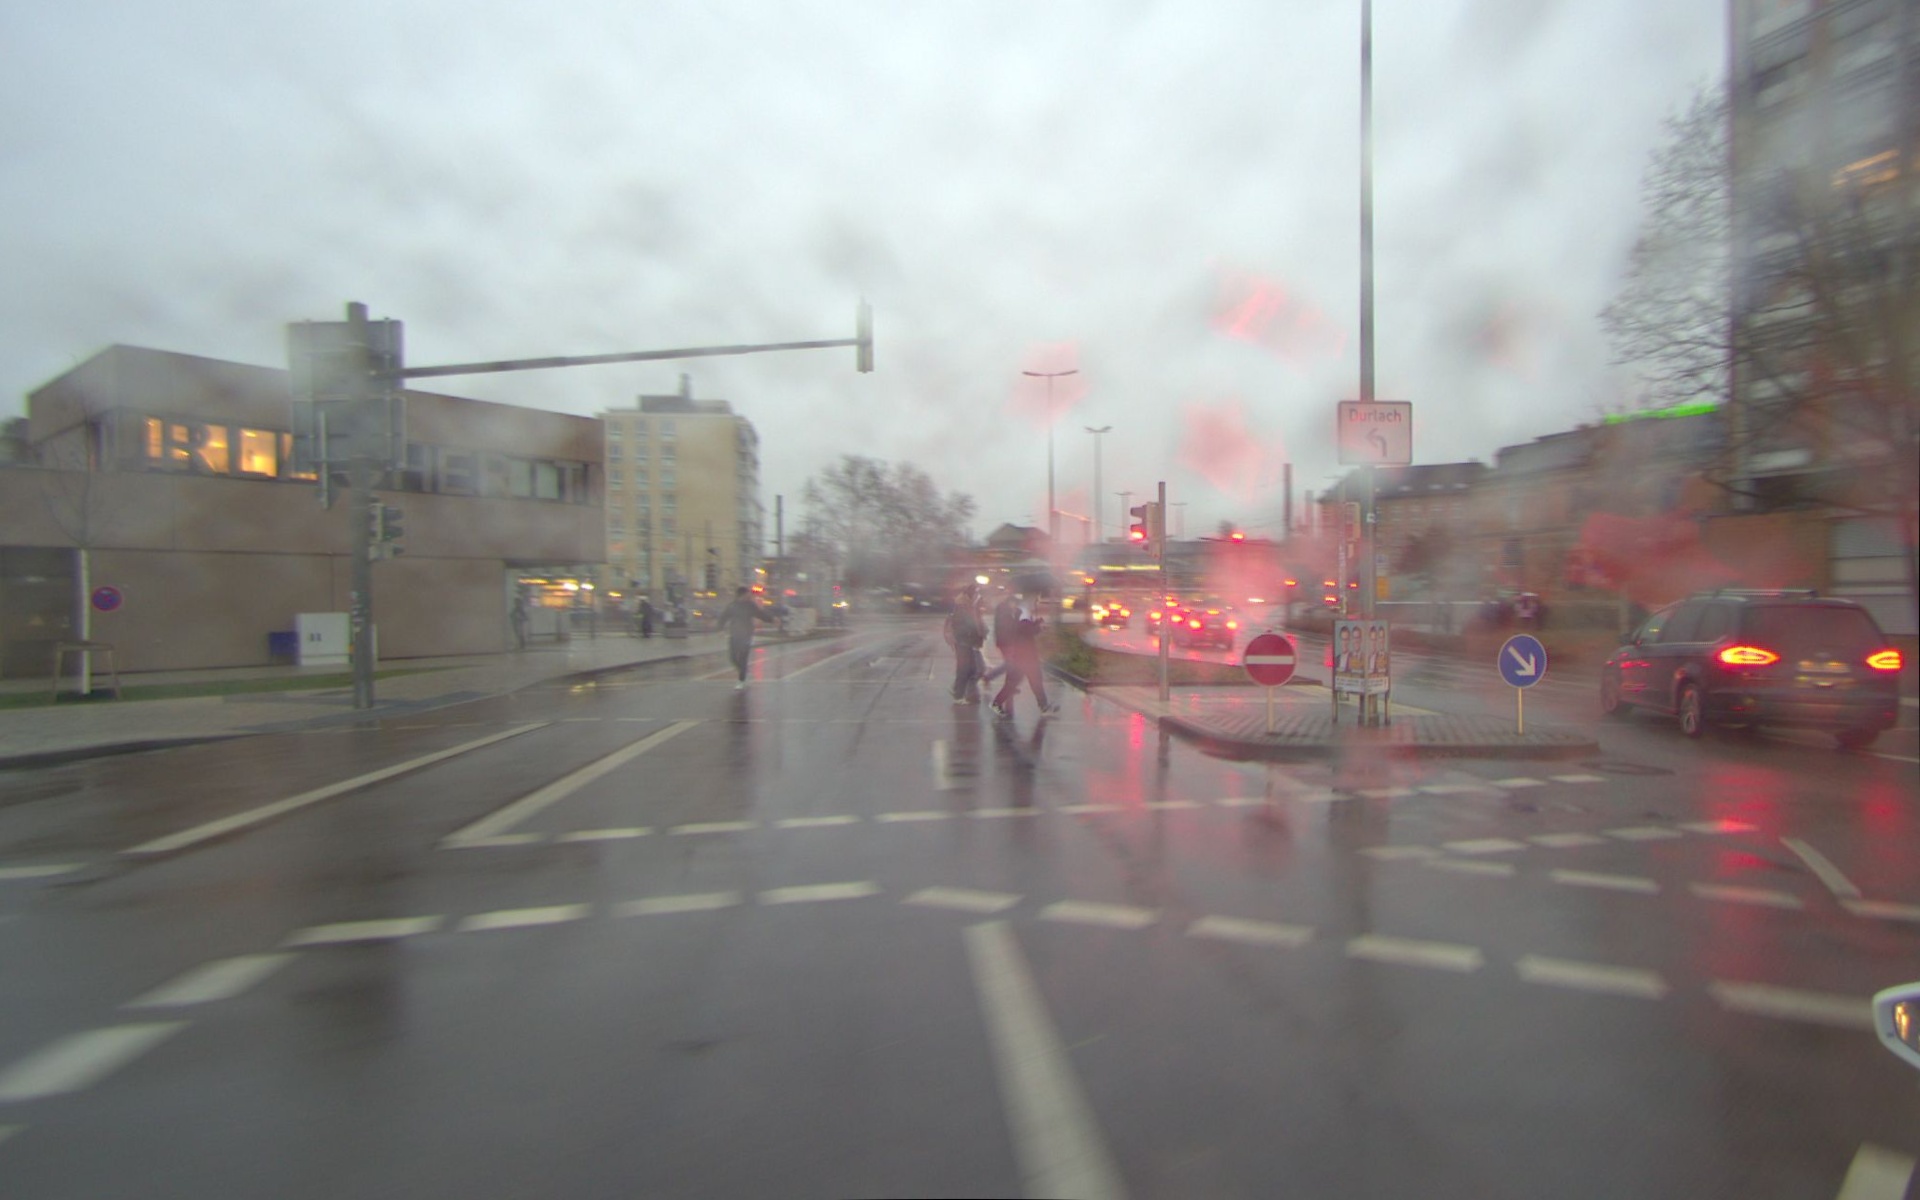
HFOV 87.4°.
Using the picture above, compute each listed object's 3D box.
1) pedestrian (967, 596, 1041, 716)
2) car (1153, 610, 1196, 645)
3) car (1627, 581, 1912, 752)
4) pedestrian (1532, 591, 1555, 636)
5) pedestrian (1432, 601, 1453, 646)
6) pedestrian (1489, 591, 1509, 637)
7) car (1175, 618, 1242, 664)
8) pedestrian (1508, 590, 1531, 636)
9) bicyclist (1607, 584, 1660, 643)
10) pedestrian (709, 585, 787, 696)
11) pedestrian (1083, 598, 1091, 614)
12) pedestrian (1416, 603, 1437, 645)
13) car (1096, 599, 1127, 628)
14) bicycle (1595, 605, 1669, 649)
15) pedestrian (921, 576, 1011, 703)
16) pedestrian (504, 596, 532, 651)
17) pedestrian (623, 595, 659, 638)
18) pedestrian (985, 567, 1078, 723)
[{"bbox_3d":[0.776,0.968,17.957,1.093,2.033,0.844,-1,3,-21],"label":"pedestrian"},{"bbox_3d":[11.070,1.381,52.076,1.755,1.622,4.544,2,0,7],"label":"car"},{"bbox_3d":[10.209,0.696,13.093,1.749,1.824,4.421,1,1,23],"label":"car"},{"bbox_3d":[22.603,0.510,38.909,0.708,1.710,0.758,-1,0,33],"label":"pedestrian"},{"bbox_3d":[22.858,1.096,47.570,0.796,2.041,0.758,1,3,33],"label":"pedestrian"},{"bbox_3d":[21.222,0.553,39.569,0.575,1.805,0.767,-2,-1,33],"label":"pedestrian"},{"bbox_3d":[9.394,1.526,38.241,1.672,1.501,3.873,2,0,3],"label":"car"},{"bbox_3d":[21.778,0.503,39.102,0.658,1.710,0.610,-2,1,34],"label":"pedestrian"},{"bbox_3d":[19.725,0.382,29.458,0.790,1.639,1.086,-3,0,5],"label":"bicyclist"},{"bbox_3d":[-3.827,0.686,18.062,1.216,1.883,1.030,-1,3,-20],"label":"pedestrian"},{"bbox_3d":[14.542,0.692,115.080,0.818,1.845,0.696,-1,0,18],"label":"pedestrian"},{"bbox_3d":[22.162,1.122,47.734,0.796,1.956,0.758,1,3,33],"label":"pedestrian"},{"bbox_3d":[9.471,0.827,63.137,1.852,1.795,4.002,0,0,8],"label":"car"},{"bbox_3d":[19.743,0.767,29.586,0.790,1.156,2.214,-4,0,5],"label":"bicycle"},{"bbox_3d":[0.090,0.584,15.818,1.023,1.883,1.062,-2,3,-30],"label":"pedestrian"},{"bbox_3d":[-14.702,0.785,33.418,0.650,1.791,0.832,-1,0,-10],"label":"pedestrian"},{"bbox_3d":[-14.515,0.746,45.724,1.046,1.944,1.119,-1,0,38],"label":"pedestrian"},{"bbox_3d":[0.978,0.592,14.036,1.191,2.077,1.035,0,3,-2],"label":"pedestrian"}]
